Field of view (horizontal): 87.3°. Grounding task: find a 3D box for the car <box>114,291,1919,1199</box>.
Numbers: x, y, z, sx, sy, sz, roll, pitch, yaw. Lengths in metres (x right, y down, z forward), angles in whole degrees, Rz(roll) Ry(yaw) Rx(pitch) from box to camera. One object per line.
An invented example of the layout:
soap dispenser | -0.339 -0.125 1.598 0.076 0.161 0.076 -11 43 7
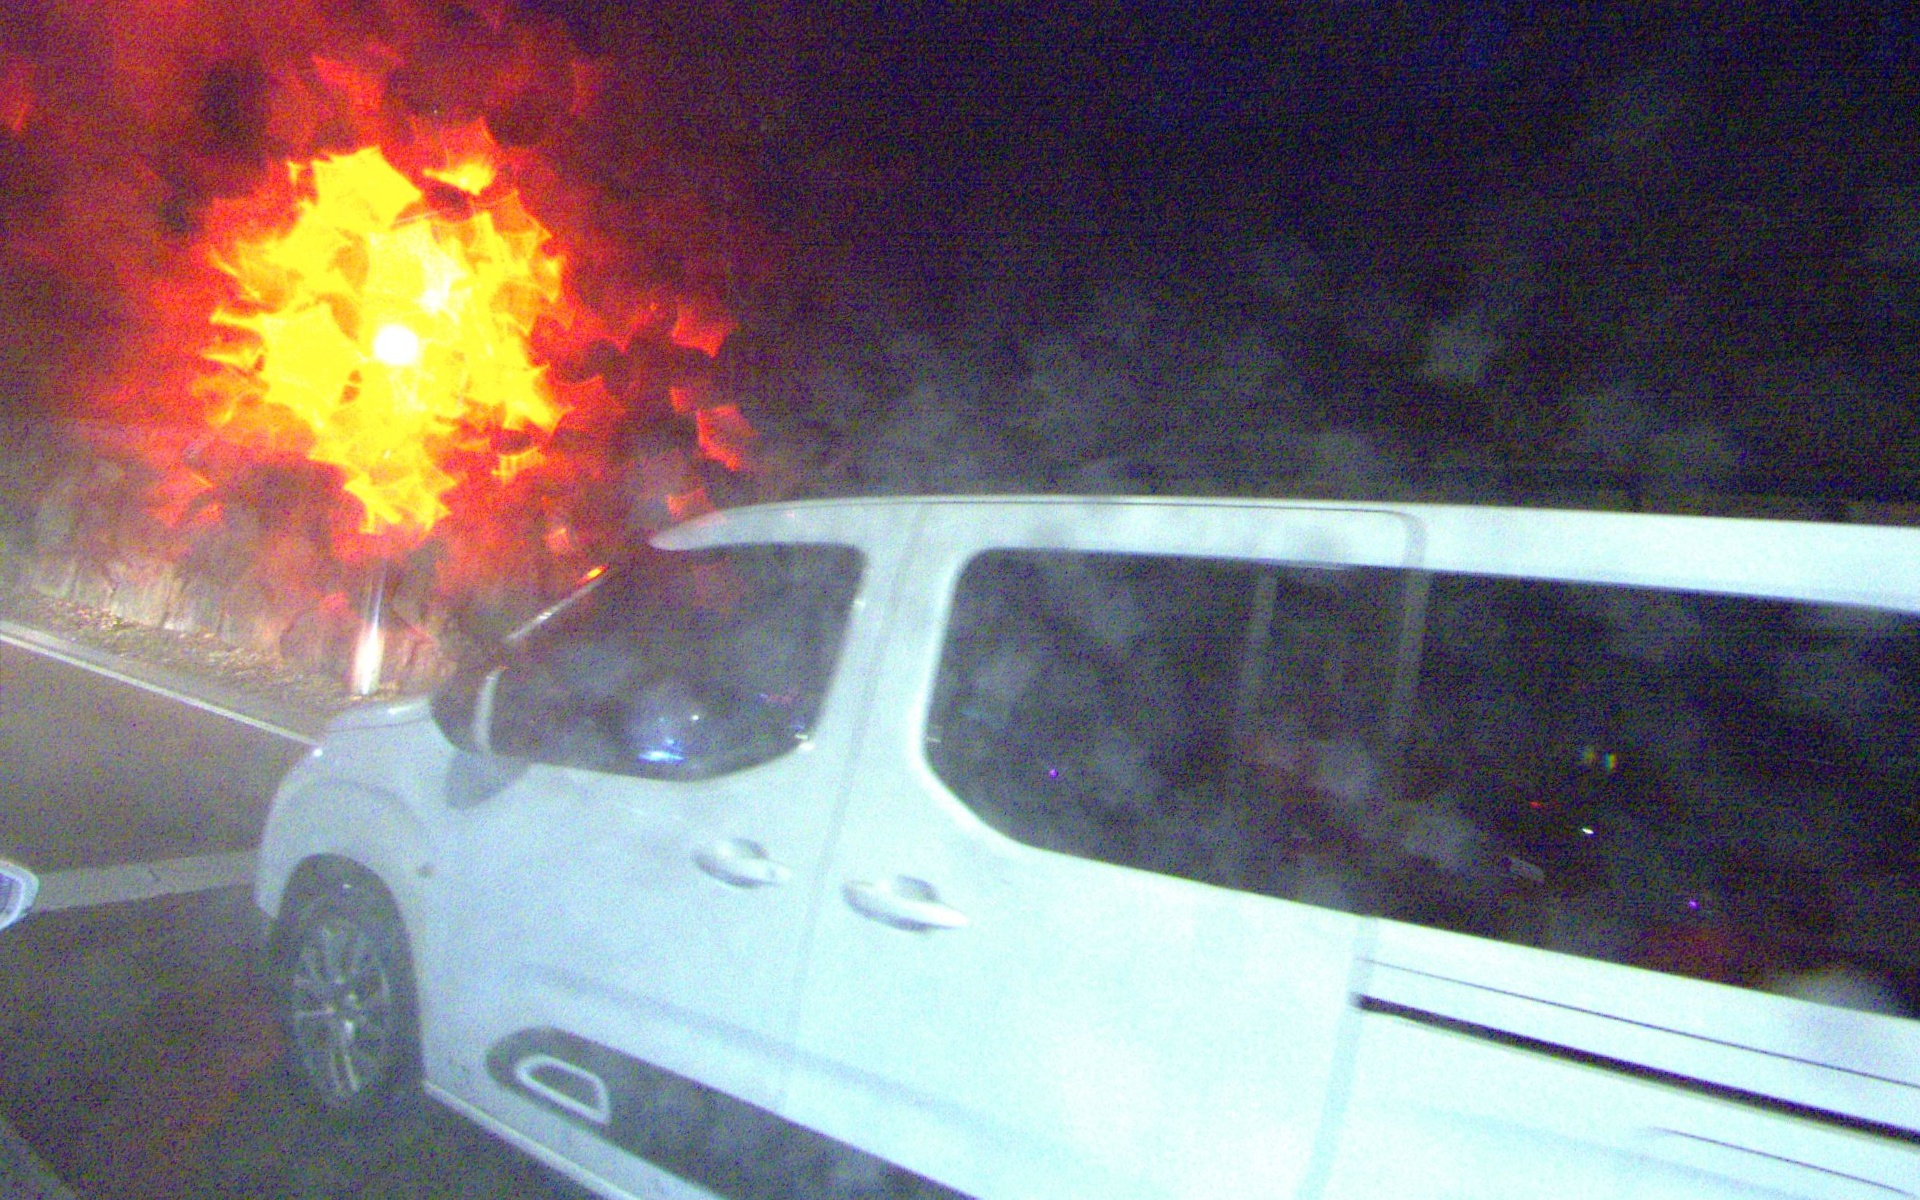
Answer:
car | 0.055 0.624 2.576 4.501 2.046 1.795 7 -1 30
